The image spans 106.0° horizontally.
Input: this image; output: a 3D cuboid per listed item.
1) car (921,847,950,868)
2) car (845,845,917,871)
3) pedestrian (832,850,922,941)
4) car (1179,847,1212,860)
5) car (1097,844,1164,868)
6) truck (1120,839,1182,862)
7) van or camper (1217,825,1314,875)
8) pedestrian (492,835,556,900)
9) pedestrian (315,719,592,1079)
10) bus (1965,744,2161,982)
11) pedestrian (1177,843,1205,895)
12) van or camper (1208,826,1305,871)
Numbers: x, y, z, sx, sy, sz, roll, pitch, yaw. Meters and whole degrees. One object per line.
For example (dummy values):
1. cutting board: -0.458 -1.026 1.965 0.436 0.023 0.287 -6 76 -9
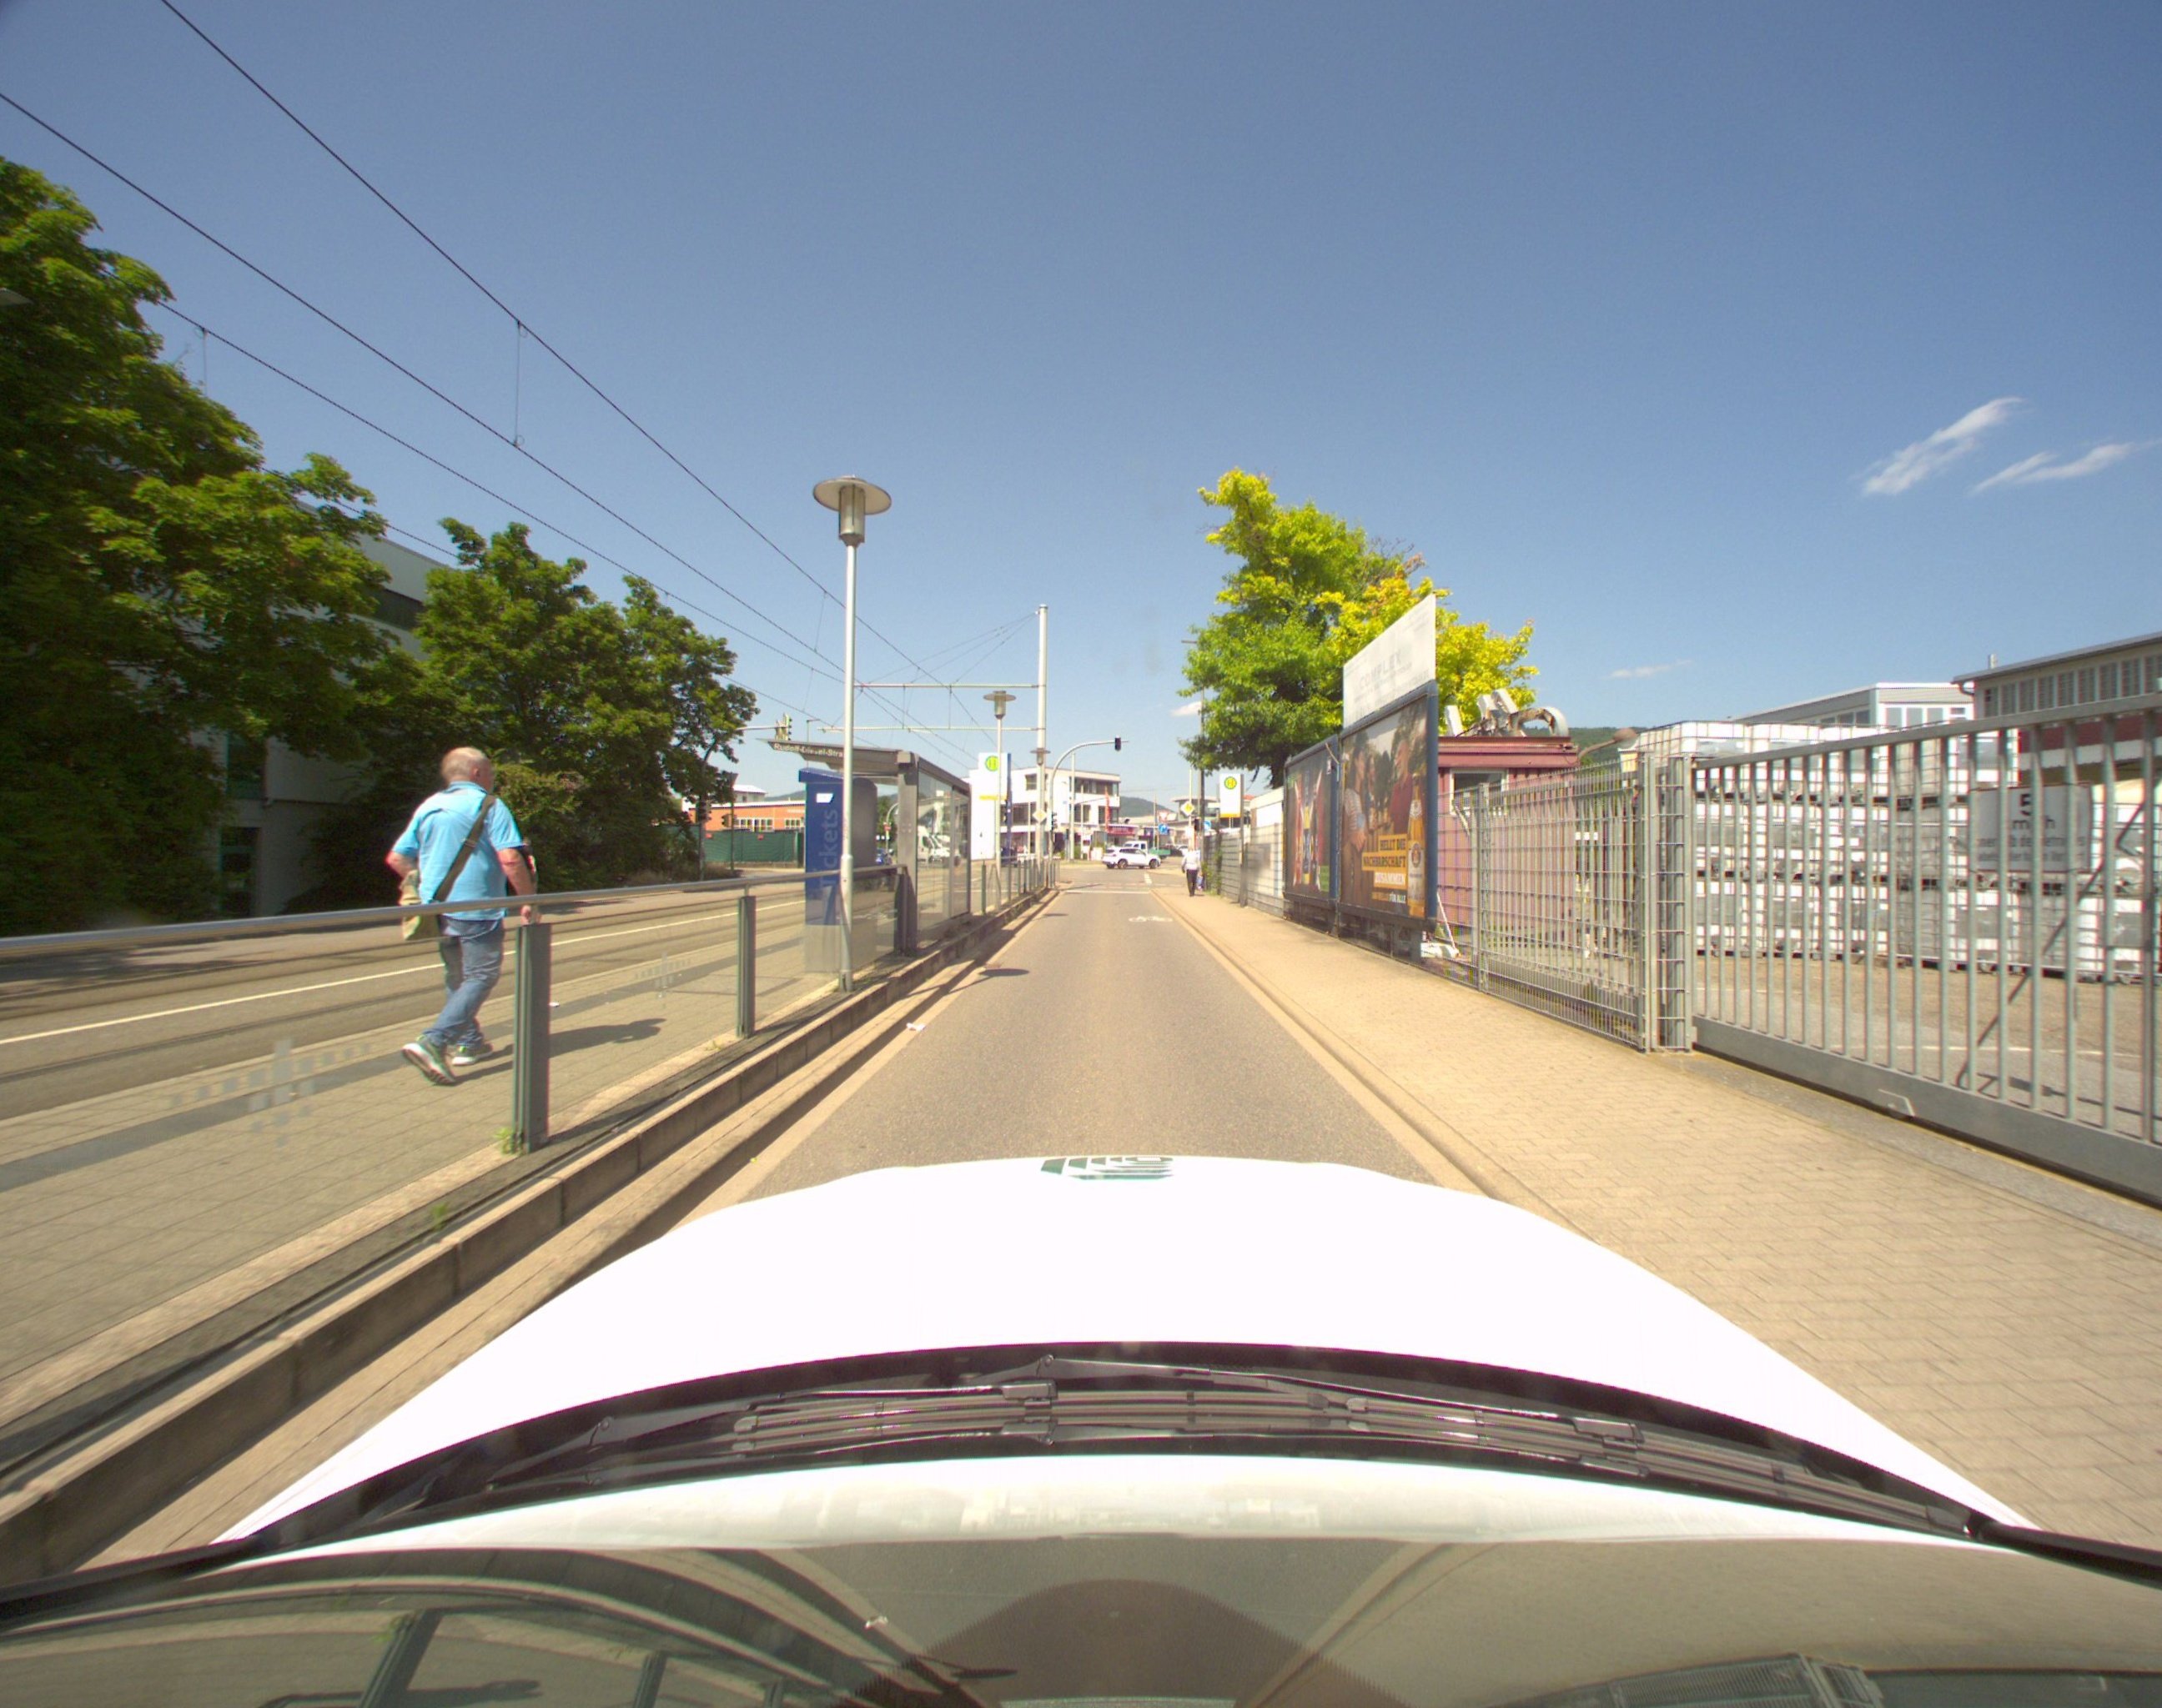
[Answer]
1. car: -14.594 0.417 82.009 2.157 2.014 5.012 1 -2 -3
2. car: -12.493 0.251 51.058 1.783 1.537 4.188 1 0 35
3. pedestrian: -2.606 0.513 10.490 0.939 1.099 0.726 1 1 1
4. car: 15.565 -0.045 110.671 1.863 1.589 4.956 -2 -2 45
5. car: 3.640 0.126 59.867 4.573 1.733 1.983 0 0 -27
6. truck: 7.397 -0.385 86.212 6.405 2.337 2.190 0 0 -28
7. van or camper: 10.942 -0.293 48.649 5.478 2.813 2.052 1 2 6
8. pedestrian: -14.874 0.349 21.771 0.882 1.670 1.160 0 0 1
9. pedestrian: -3.328 0.211 4.417 0.721 1.724 0.945 1 1 2
10. bus: 15.536 0.047 8.168 2.555 3.172 10.275 0 -2 3
11. pedestrian: 3.641 0.486 27.022 0.810 1.699 0.887 0 0 0
12. van or camper: 11.067 -0.368 51.731 5.784 2.773 2.094 0 1 4
